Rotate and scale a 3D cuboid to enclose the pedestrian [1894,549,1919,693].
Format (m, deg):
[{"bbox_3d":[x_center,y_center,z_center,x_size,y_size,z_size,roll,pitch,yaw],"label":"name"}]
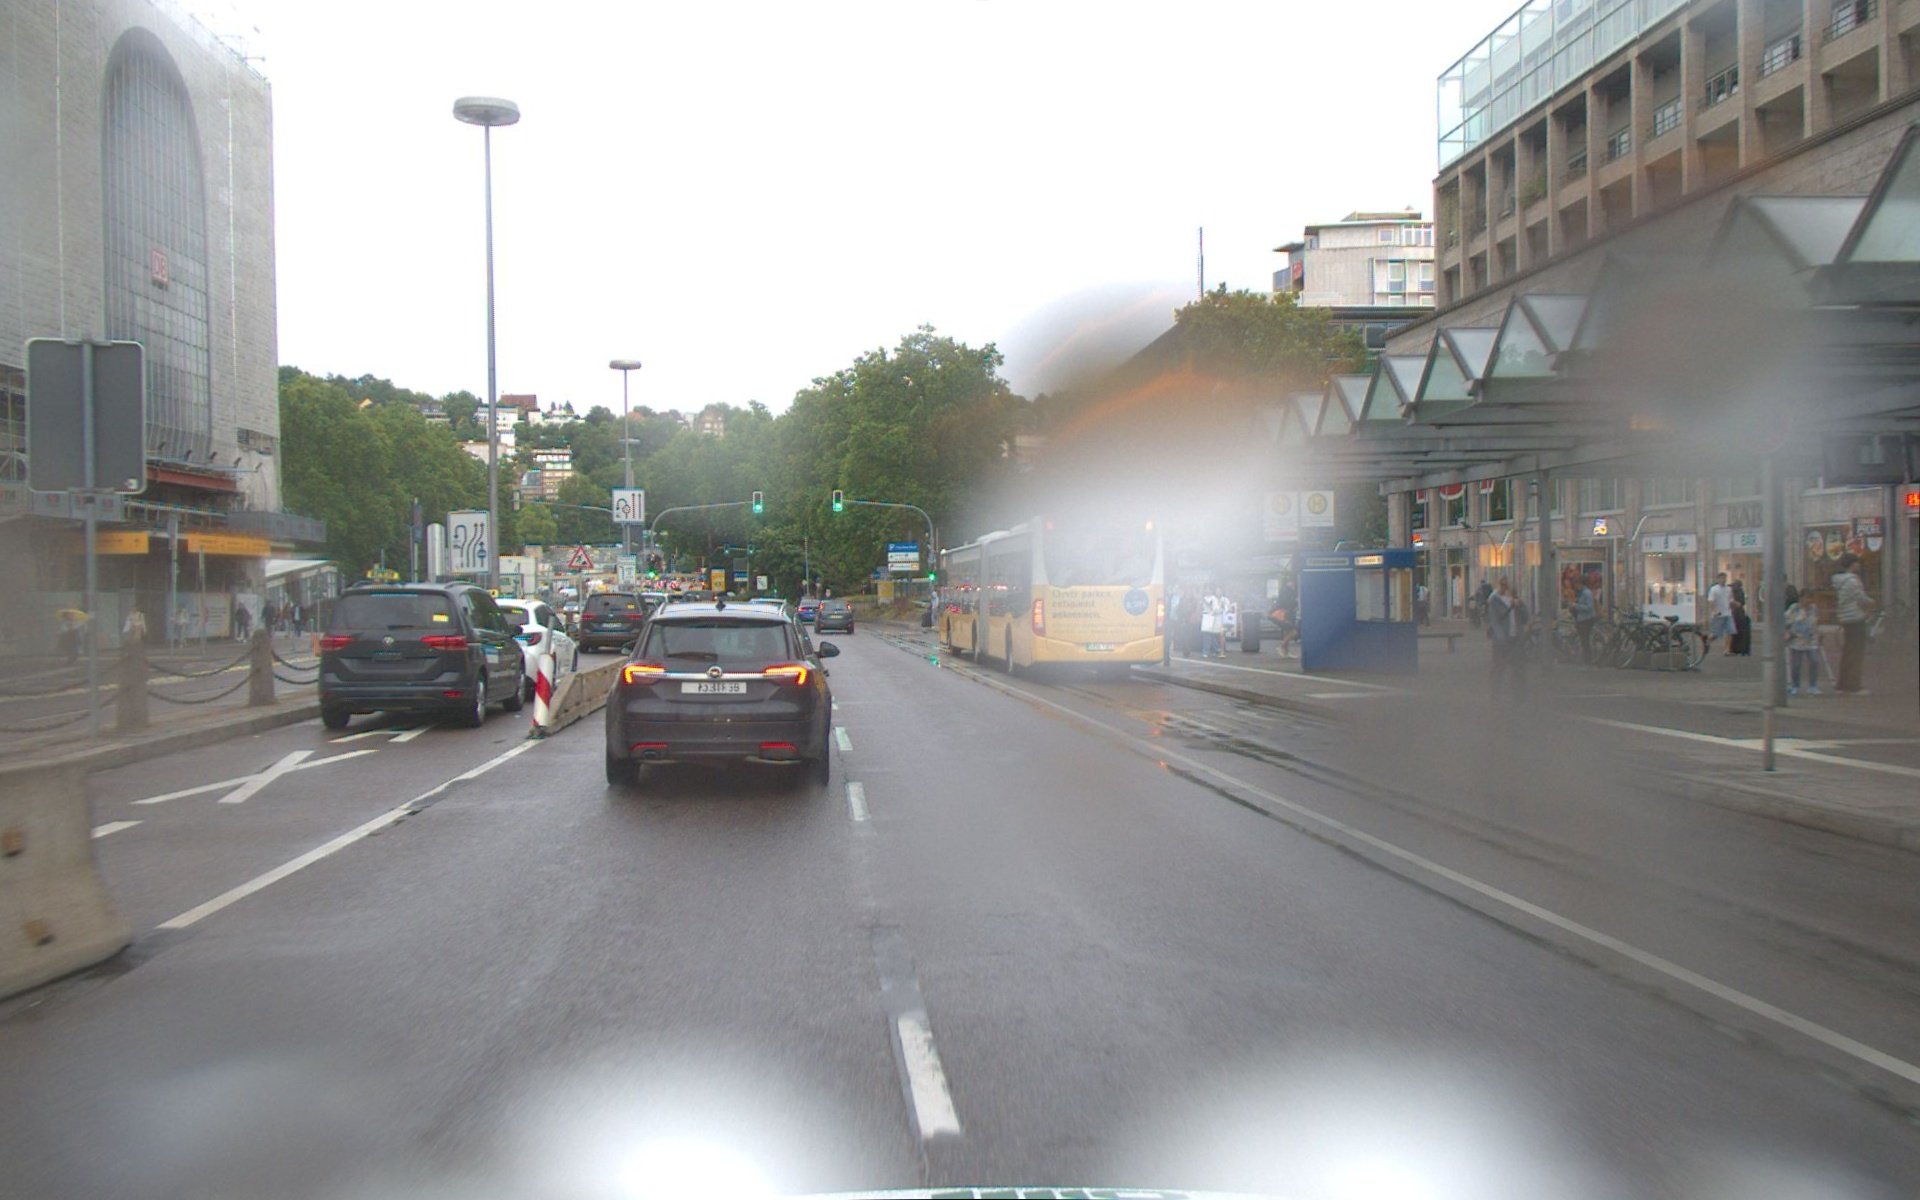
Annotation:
[{"bbox_3d":[12.908,0.275,22.248,0.584,1.907,0.590,-1,0,30],"label":"pedestrian"}]

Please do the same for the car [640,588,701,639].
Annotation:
[{"bbox_3d":[-10.912,0.506,62.577,1.955,1.818,4.840,-1,0,-7],"label":"car"}]

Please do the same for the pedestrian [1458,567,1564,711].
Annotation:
[{"bbox_3d":[6.770,0.465,20.346,0.750,1.720,0.991,0,0,-26],"label":"pedestrian"}]

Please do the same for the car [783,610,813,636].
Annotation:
[{"bbox_3d":[-11.117,1.590,113.456,1.868,1.747,3.993,0,-1,-8],"label":"car"}]

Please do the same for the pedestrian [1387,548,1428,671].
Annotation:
[{"bbox_3d":[8.316,0.173,30.747,0.579,2.254,0.587,0,0,-3],"label":"pedestrian"}]

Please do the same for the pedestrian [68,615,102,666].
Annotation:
[{"bbox_3d":[-28.421,1.314,53.745,0.663,1.642,0.838,0,0,-3],"label":"pedestrian"}]

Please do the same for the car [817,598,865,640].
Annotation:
[{"bbox_3d":[-5.178,0.825,71.573,1.817,1.747,3.993,0,-1,-8],"label":"car"}]

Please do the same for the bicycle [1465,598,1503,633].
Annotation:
[{"bbox_3d":[19.369,0.555,61.137,0.646,1.277,2.012,-1,0,-4],"label":"bicycle"}]

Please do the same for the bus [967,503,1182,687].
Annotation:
[{"bbox_3d":[2.099,-0.044,34.451,3.080,3.304,9.124,0,-1,-5],"label":"bus"}]

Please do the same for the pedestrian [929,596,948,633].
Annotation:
[{"bbox_3d":[-1.085,0.722,82.714,0.734,1.836,0.705,-1,0,-21],"label":"pedestrian"}]

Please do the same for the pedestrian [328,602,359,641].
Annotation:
[{"bbox_3d":[-30.068,1.031,80.665,0.962,1.873,1.042,-1,0,15],"label":"pedestrian"}]

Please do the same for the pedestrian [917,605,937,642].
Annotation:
[{"bbox_3d":[-1.708,1.206,85.529,0.775,1.871,0.944,-1,0,-20],"label":"pedestrian"}]

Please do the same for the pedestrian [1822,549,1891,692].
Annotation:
[{"bbox_3d":[12.036,0.272,22.222,0.594,1.892,0.625,0,0,4],"label":"pedestrian"}]

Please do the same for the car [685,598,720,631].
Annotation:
[{"bbox_3d":[-14.898,0.838,95.531,1.957,1.878,5.050,0,-1,-10],"label":"car"}]

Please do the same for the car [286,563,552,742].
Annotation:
[{"bbox_3d":[-6.457,0.570,20.349,1.954,1.895,4.828,-1,0,-4],"label":"car"}]

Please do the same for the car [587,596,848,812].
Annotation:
[{"bbox_3d":[-1.912,0.752,14.378,1.840,1.534,4.848,-1,0,-4],"label":"car"}]

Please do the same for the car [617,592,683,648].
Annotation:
[{"bbox_3d":[-10.585,0.668,56.737,1.956,1.818,4.446,-1,0,-8],"label":"car"}]

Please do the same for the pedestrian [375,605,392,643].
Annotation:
[{"bbox_3d":[-28.475,1.179,81.720,0.684,1.873,0.527,-1,0,-8],"label":"pedestrian"}]

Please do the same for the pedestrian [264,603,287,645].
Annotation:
[{"bbox_3d":[-31.154,1.075,75.275,0.764,1.873,0.770,-1,0,-6],"label":"pedestrian"}]

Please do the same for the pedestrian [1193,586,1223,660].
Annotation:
[{"bbox_3d":[5.895,0.546,39.310,0.597,1.753,0.592,0,0,-1],"label":"pedestrian"}]

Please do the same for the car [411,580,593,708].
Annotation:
[{"bbox_3d":[-6.939,0.620,25.565,1.956,1.736,4.825,-1,0,-7],"label":"car"}]

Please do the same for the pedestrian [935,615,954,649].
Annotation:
[{"bbox_3d":[-0.809,1.623,84.480,0.858,1.720,0.757,-1,0,-6],"label":"pedestrian"}]

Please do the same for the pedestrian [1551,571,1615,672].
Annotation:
[{"bbox_3d":[10.780,0.362,28.639,0.733,1.724,0.901,0,0,-2],"label":"pedestrian"}]

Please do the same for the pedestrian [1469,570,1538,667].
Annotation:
[{"bbox_3d":[10.478,0.349,31.887,0.779,1.836,0.981,-1,0,-34],"label":"pedestrian"}]

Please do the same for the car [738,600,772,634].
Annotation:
[{"bbox_3d":[-12.505,1.043,100.615,1.947,2.049,4.360,0,-1,-9],"label":"car"}]

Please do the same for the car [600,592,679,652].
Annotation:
[{"bbox_3d":[-9.914,0.652,51.507,2.010,1.741,5.047,-1,0,-7],"label":"car"}]

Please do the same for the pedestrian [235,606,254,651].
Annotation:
[{"bbox_3d":[-29.913,1.179,69.169,0.525,1.873,0.770,0,0,-8],"label":"pedestrian"}]

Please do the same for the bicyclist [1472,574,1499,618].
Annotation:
[{"bbox_3d":[19.364,-0.143,60.993,0.637,1.581,0.907,-1,-1,-4],"label":"bicyclist"}]

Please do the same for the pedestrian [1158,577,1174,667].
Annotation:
[{"bbox_3d":[4.297,0.460,34.465,0.238,1.869,0.511,0,0,-2],"label":"pedestrian"}]

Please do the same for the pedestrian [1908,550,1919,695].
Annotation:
[{"bbox_3d":[12.639,0.286,21.252,0.600,1.863,0.586,0,0,-34],"label":"pedestrian"}]

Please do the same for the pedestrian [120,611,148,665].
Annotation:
[{"bbox_3d":[-26.765,1.235,53.604,0.671,1.715,0.834,0,0,-19],"label":"pedestrian"}]

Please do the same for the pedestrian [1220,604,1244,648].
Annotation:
[{"bbox_3d":[7.918,0.761,48.144,0.504,1.254,0.770,-1,0,-3],"label":"pedestrian"}]

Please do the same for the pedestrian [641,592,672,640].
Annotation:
[{"bbox_3d":[-13.072,0.675,71.283,0.818,2.049,1.025,-1,0,32],"label":"pedestrian"}]

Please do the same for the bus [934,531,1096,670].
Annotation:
[{"bbox_3d":[1.229,0.070,43.567,3.053,3.261,9.229,0,-1,-6],"label":"bus"}]

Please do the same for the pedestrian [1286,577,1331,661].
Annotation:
[{"bbox_3d":[7.866,0.426,37.398,0.963,1.869,0.836,-1,0,11],"label":"pedestrian"}]

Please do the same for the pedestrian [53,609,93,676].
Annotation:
[{"bbox_3d":[-25.156,1.192,46.898,0.862,1.873,0.834,0,0,-19],"label":"pedestrian"}]

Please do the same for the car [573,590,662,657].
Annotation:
[{"bbox_3d":[-9.325,0.619,45.308,1.955,1.683,4.634,-1,0,-7],"label":"car"}]

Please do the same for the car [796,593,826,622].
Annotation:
[{"bbox_3d":[-8.599,0.436,95.137,1.642,1.609,3.235,0,-1,-6],"label":"car"}]

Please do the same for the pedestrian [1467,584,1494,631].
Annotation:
[{"bbox_3d":[20.621,0.304,65.562,0.717,1.823,0.788,-1,0,-6],"label":"pedestrian"}]

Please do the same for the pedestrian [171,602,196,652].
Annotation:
[{"bbox_3d":[-29.501,1.002,62.842,0.759,1.873,0.830,0,0,-19],"label":"pedestrian"}]

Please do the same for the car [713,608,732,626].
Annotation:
[{"bbox_3d":[-23.214,1.650,161.313,1.675,1.694,3.696,0,-1,-11],"label":"car"}]

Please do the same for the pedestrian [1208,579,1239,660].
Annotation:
[{"bbox_3d":[6.141,0.455,38.471,0.679,1.869,0.556,-1,0,11],"label":"pedestrian"}]

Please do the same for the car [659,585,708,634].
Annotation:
[{"bbox_3d":[-11.357,0.385,68.170,1.681,1.925,4.604,-1,0,-6],"label":"car"}]

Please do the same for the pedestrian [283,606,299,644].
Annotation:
[{"bbox_3d":[-32.600,1.217,80.610,0.664,1.873,0.716,0,0,-19],"label":"pedestrian"}]

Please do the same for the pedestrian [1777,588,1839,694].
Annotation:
[{"bbox_3d":[11.380,0.538,22.205,0.541,1.401,0.507,0,0,-10],"label":"pedestrian"}]

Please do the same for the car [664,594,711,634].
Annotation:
[{"bbox_3d":[-12.195,0.619,74.207,1.752,1.715,4.661,-1,0,-6],"label":"car"}]

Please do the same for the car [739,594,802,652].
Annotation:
[{"bbox_3d":[-5.937,0.689,52.237,1.794,1.715,4.130,-1,0,-4],"label":"car"}]

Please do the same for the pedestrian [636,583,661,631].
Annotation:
[{"bbox_3d":[-13.226,0.298,70.306,0.818,2.049,0.622,-1,0,31],"label":"pedestrian"}]

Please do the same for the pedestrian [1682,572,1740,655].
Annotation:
[{"bbox_3d":[15.925,0.273,35.053,0.967,1.724,0.854,-1,0,35],"label":"pedestrian"}]

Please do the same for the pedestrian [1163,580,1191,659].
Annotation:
[{"bbox_3d":[5.176,0.455,39.412,0.554,1.869,0.569,0,0,-2],"label":"pedestrian"}]
